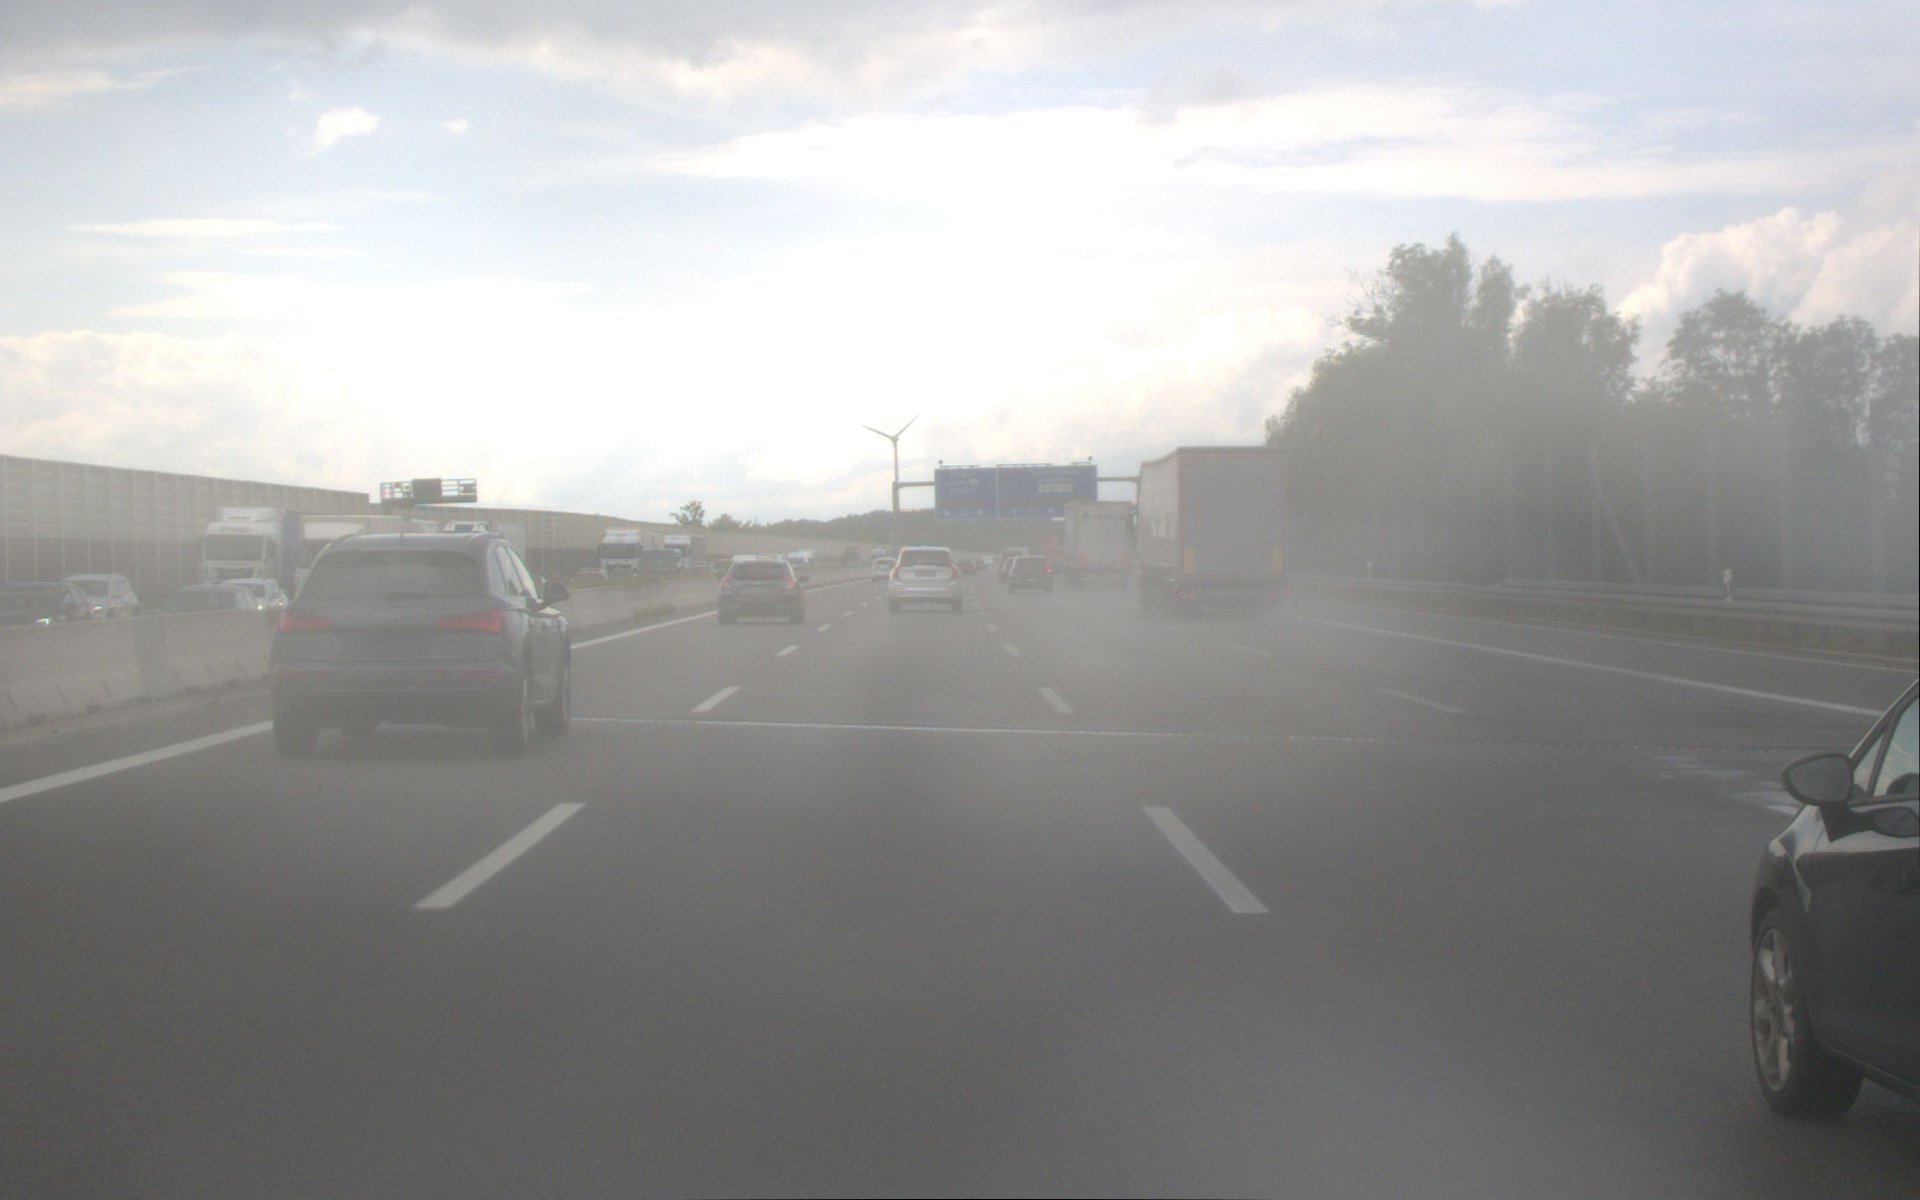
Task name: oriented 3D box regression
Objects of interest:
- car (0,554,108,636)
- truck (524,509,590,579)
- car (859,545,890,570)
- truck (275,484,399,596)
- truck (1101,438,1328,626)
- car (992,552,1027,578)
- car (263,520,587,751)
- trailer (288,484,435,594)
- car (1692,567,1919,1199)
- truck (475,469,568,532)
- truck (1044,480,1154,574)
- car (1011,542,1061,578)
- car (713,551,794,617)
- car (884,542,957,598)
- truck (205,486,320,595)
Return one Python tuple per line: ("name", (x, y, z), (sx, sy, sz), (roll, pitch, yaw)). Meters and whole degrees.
("car", (-18.986, -0.124, 70.637), (1.923, 1.593, 4.253), (-1, 1, 0))
("truck", (-19.964, -2.800, 170.786), (2.321, 3.336, 8.354), (1, 1, 0))
("car", (-5.176, -2.567, 207.237), (1.772, 1.436, 3.874), (0, 2, -3))
("truck", (-22.632, -2.217, 125.353), (3.079, 3.921, 8.054), (1, 1, 0))
("truck", (6.114, -1.712, 85.411), (4.179, 4.273, 12.614), (1, 1, -2))
("car", (2.866, -2.035, 200.857), (1.835, 1.436, 4.056), (0, 2, -2))
("car", (-4.210, 0.201, 27.833), (1.908, 1.685, 5.169), (0, 1, -1))
("trailer", (-22.682, -2.349, 131.197), (3.079, 3.921, 14.983), (1, 1, 0))
("car", (2.908, 0.658, 8.489), (1.447, 1.436, 3.164), (0, 1, -1))
("truck", (-24.562, -5.543, 193.521), (3.266, 3.340, 16.086), (1, 1, 0))
("truck", (6.426, -3.440, 161.151), (4.243, 4.162, 11.991), (1, 1, -2))
("car", (3.112, -1.666, 141.717), (1.835, 1.436, 4.056), (0, 2, -2))
("car", (-4.611, -0.380, 76.756), (1.760, 1.364, 5.061), (0, 2, -3))
("car", (-1.083, -0.822, 92.311), (1.772, 1.436, 4.056), (0, 2, -3))
("truck", (-27.069, -2.344, 133.751), (2.710, 4.060, 8.915), (1, 1, 0))
